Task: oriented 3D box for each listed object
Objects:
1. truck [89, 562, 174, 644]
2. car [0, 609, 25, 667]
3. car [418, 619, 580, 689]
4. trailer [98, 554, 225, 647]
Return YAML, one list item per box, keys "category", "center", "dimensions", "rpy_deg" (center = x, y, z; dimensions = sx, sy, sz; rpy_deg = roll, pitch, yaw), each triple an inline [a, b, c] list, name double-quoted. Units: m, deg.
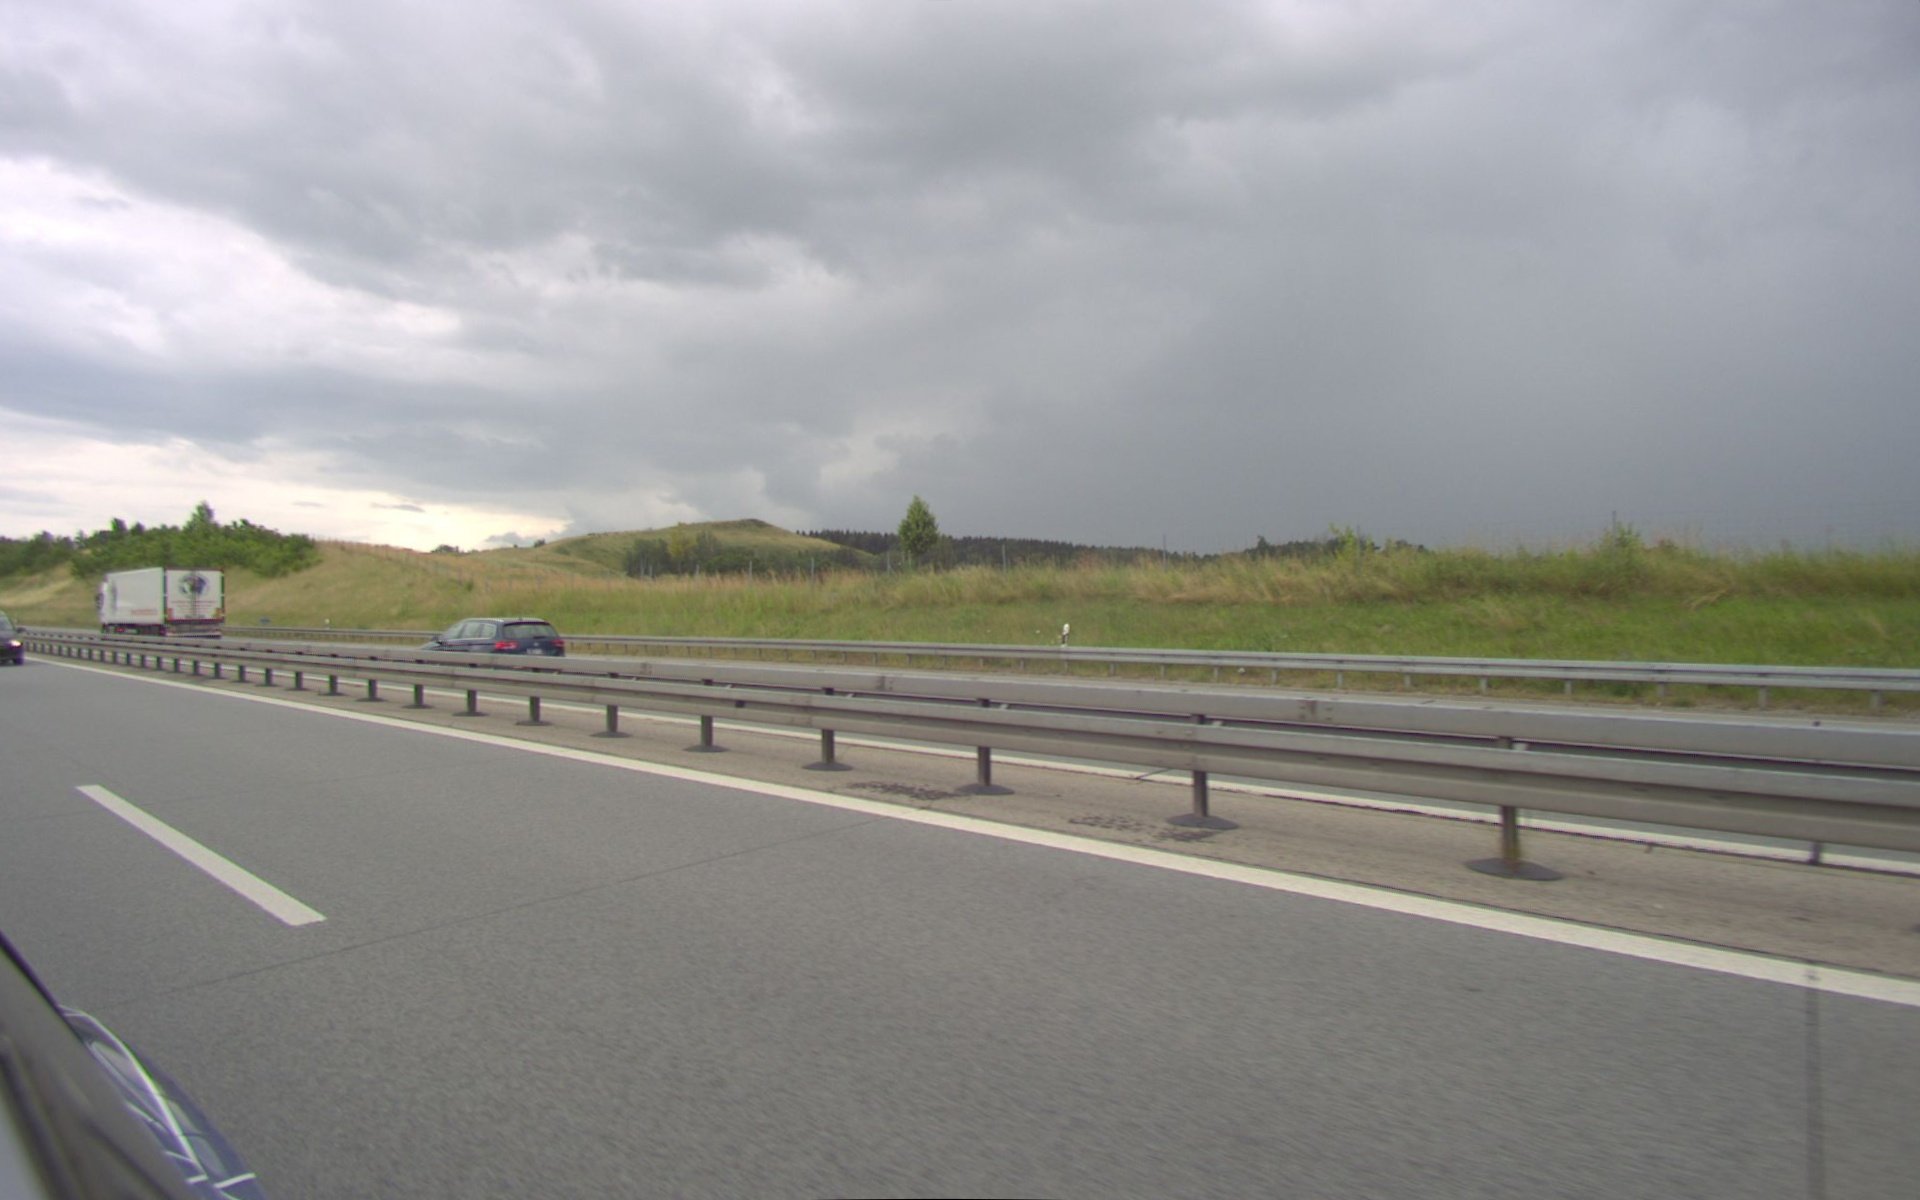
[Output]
- category: "truck"
  center: [-50.323, 0.231, 61.408]
  dimensions: [6.915, 4.682, 2.767]
  rpy_deg: [-1, -1, 41]
- category: "car"
  center: [-29.998, 1.132, 30.735]
  dimensions: [5.395, 1.683, 1.876]
  rpy_deg: [-1, -1, 42]
- category: "car"
  center: [-10.506, 1.167, 22.977]
  dimensions: [3.995, 1.435, 1.746]
  rpy_deg: [-1, -1, 39]
- category: "trailer"
  center: [-45.206, 0.145, 57.003]
  dimensions: [14.837, 4.685, 2.767]
  rpy_deg: [-1, -1, 41]
